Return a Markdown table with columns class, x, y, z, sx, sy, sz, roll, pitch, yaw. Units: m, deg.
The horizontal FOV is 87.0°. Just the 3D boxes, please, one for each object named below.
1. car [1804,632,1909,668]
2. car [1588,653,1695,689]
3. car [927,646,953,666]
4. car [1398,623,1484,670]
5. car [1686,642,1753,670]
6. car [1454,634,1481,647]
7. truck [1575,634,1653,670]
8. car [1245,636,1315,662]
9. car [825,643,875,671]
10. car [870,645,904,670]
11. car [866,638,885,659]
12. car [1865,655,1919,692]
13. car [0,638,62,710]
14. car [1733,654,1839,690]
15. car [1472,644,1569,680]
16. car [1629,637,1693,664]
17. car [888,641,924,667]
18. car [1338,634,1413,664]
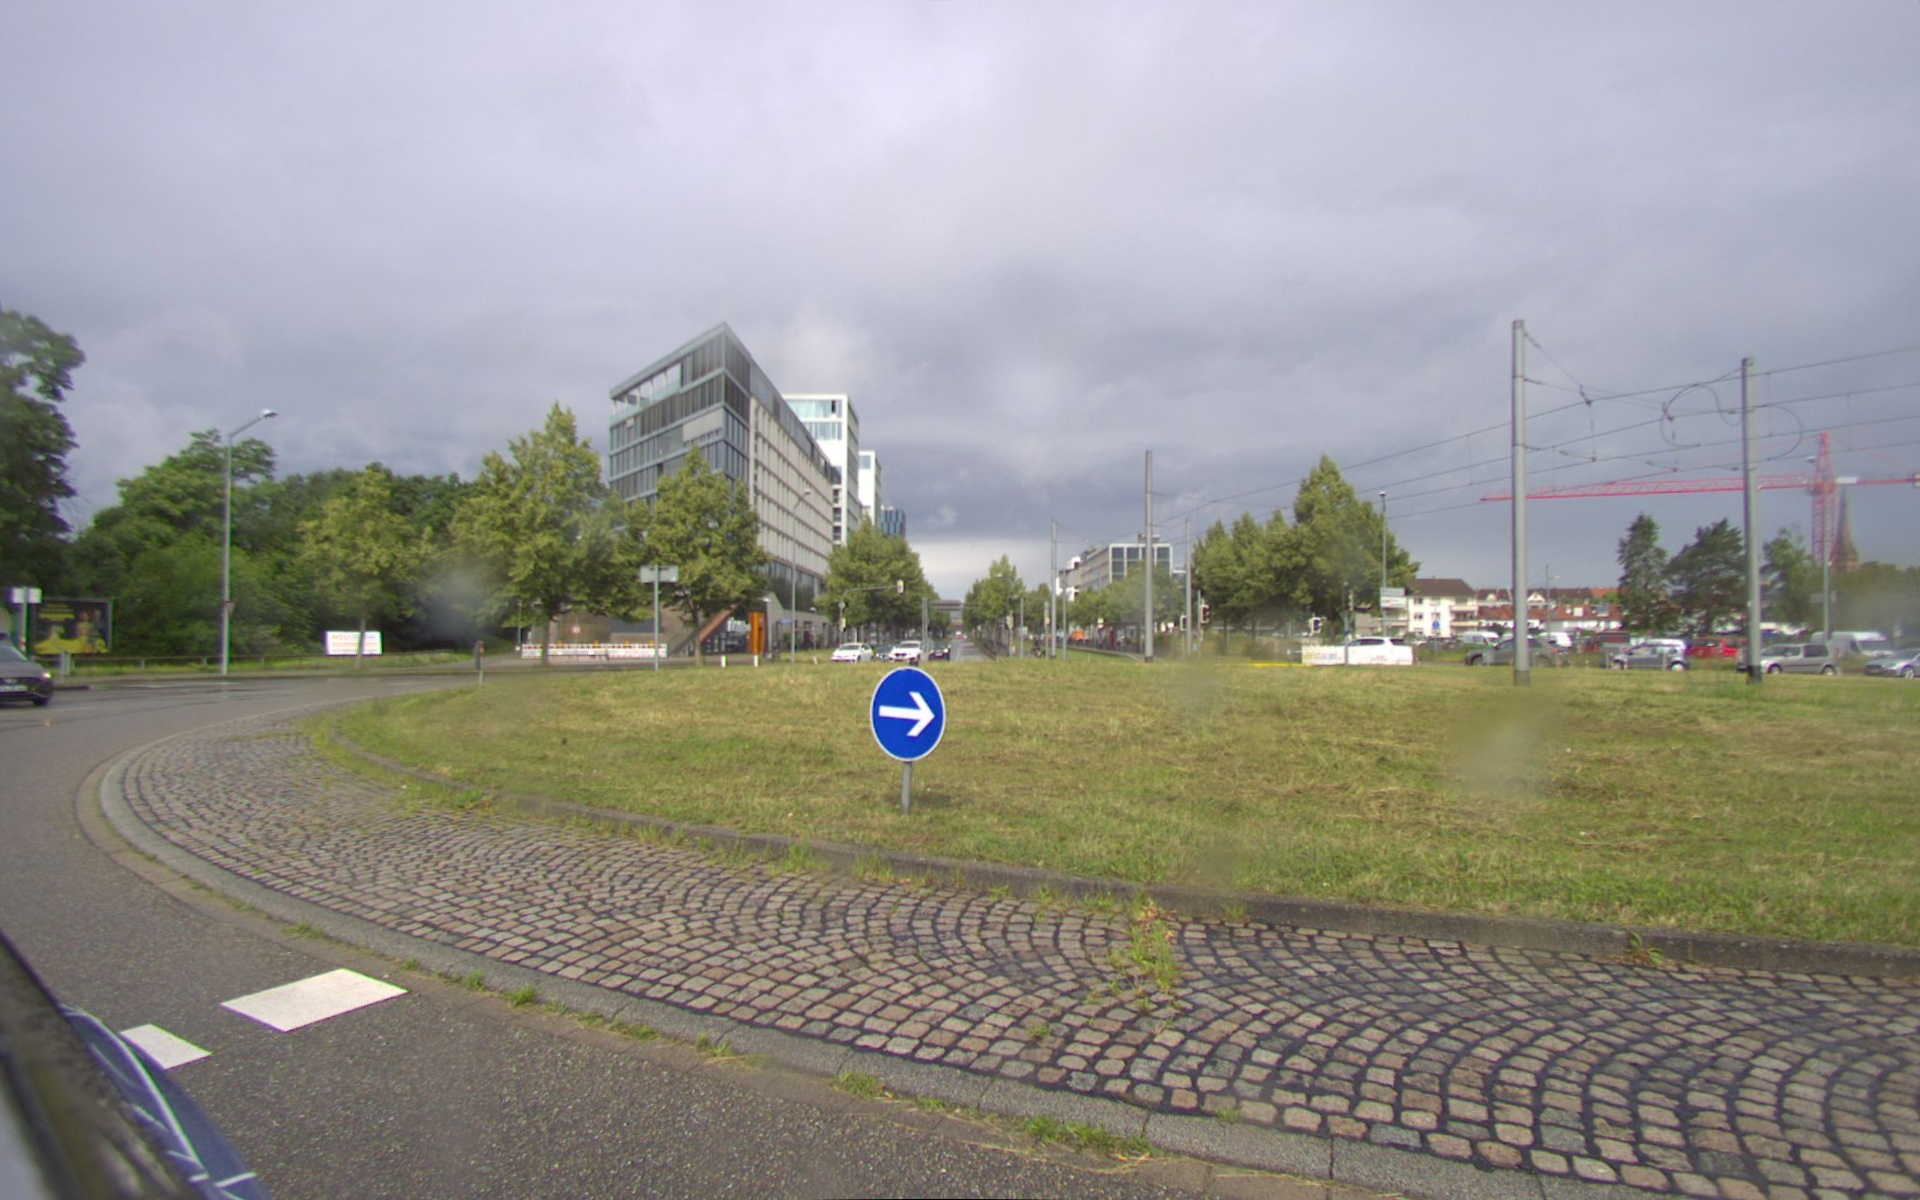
| class | x | y | z | sx | sy | sz | roll | pitch | yaw |
| --- | --- | --- | --- | --- | --- | --- | --- | --- | --- |
| car | 59.844 | 3.290 | 67.752 | 2.018 | 2.101 | 6.253 | 0 | 0 | 7 |
| car | 32.515 | 3.361 | 48.418 | 3.980 | 1.597 | 1.781 | -1 | -2 | 28 |
| car | -1.542 | 4.364 | 79.371 | 1.705 | 1.519 | 3.898 | -1 | -2 | 5 |
| car | 27.128 | 2.605 | 57.157 | 1.769 | 2.587 | 4.007 | 1 | -2 | -39 |
| car | 53.316 | 3.900 | 71.108 | 1.905 | 1.713 | 3.995 | 0 | 0 | 4 |
| car | 63.336 | 5.027 | 126.383 | 1.529 | 1.572 | 3.499 | 0 | -2 | 1 |
| truck | 46.444 | 3.626 | 72.025 | 2.370 | 2.228 | 6.083 | 0 | 0 | 9 |
| car | 19.113 | 2.926 | 60.588 | 1.771 | 1.529 | 4.013 | 1 | -3 | -24 |
| car | -6.806 | 3.587 | 63.205 | 1.847 | 1.685 | 4.454 | -1 | -4 | 11 |
| car | -5.228 | 4.156 | 72.670 | 1.843 | 1.685 | 4.464 | -1 | -4 | 4 |
| car | -10.063 | 5.787 | 120.889 | 1.841 | 2.378 | 4.467 | -1 | -4 | 2 |
| car | 43.319 | 3.302 | 45.761 | 3.495 | 1.572 | 1.602 | 0 | -2 | -5 |
| car | -21.122 | 1.565 | 21.513 | 4.108 | 1.424 | 1.719 | -2 | -1 | 28 |
| car | 37.053 | 3.221 | 45.449 | 3.450 | 1.572 | 1.550 | 0 | -2 | 0 |
| car | 26.530 | 2.908 | 47.974 | 1.550 | 1.572 | 3.681 | 1 | -2 | -43 |
| car | 51.339 | 3.666 | 74.211 | 1.832 | 1.713 | 3.999 | 1 | 0 | 0 |
| car | -3.288 | 3.288 | 61.852 | 1.705 | 1.519 | 3.898 | -1 | -2 | 5 |
| car | 22.067 | 2.602 | 53.889 | 1.474 | 1.522 | 3.511 | 1 | -2 | -30 |
